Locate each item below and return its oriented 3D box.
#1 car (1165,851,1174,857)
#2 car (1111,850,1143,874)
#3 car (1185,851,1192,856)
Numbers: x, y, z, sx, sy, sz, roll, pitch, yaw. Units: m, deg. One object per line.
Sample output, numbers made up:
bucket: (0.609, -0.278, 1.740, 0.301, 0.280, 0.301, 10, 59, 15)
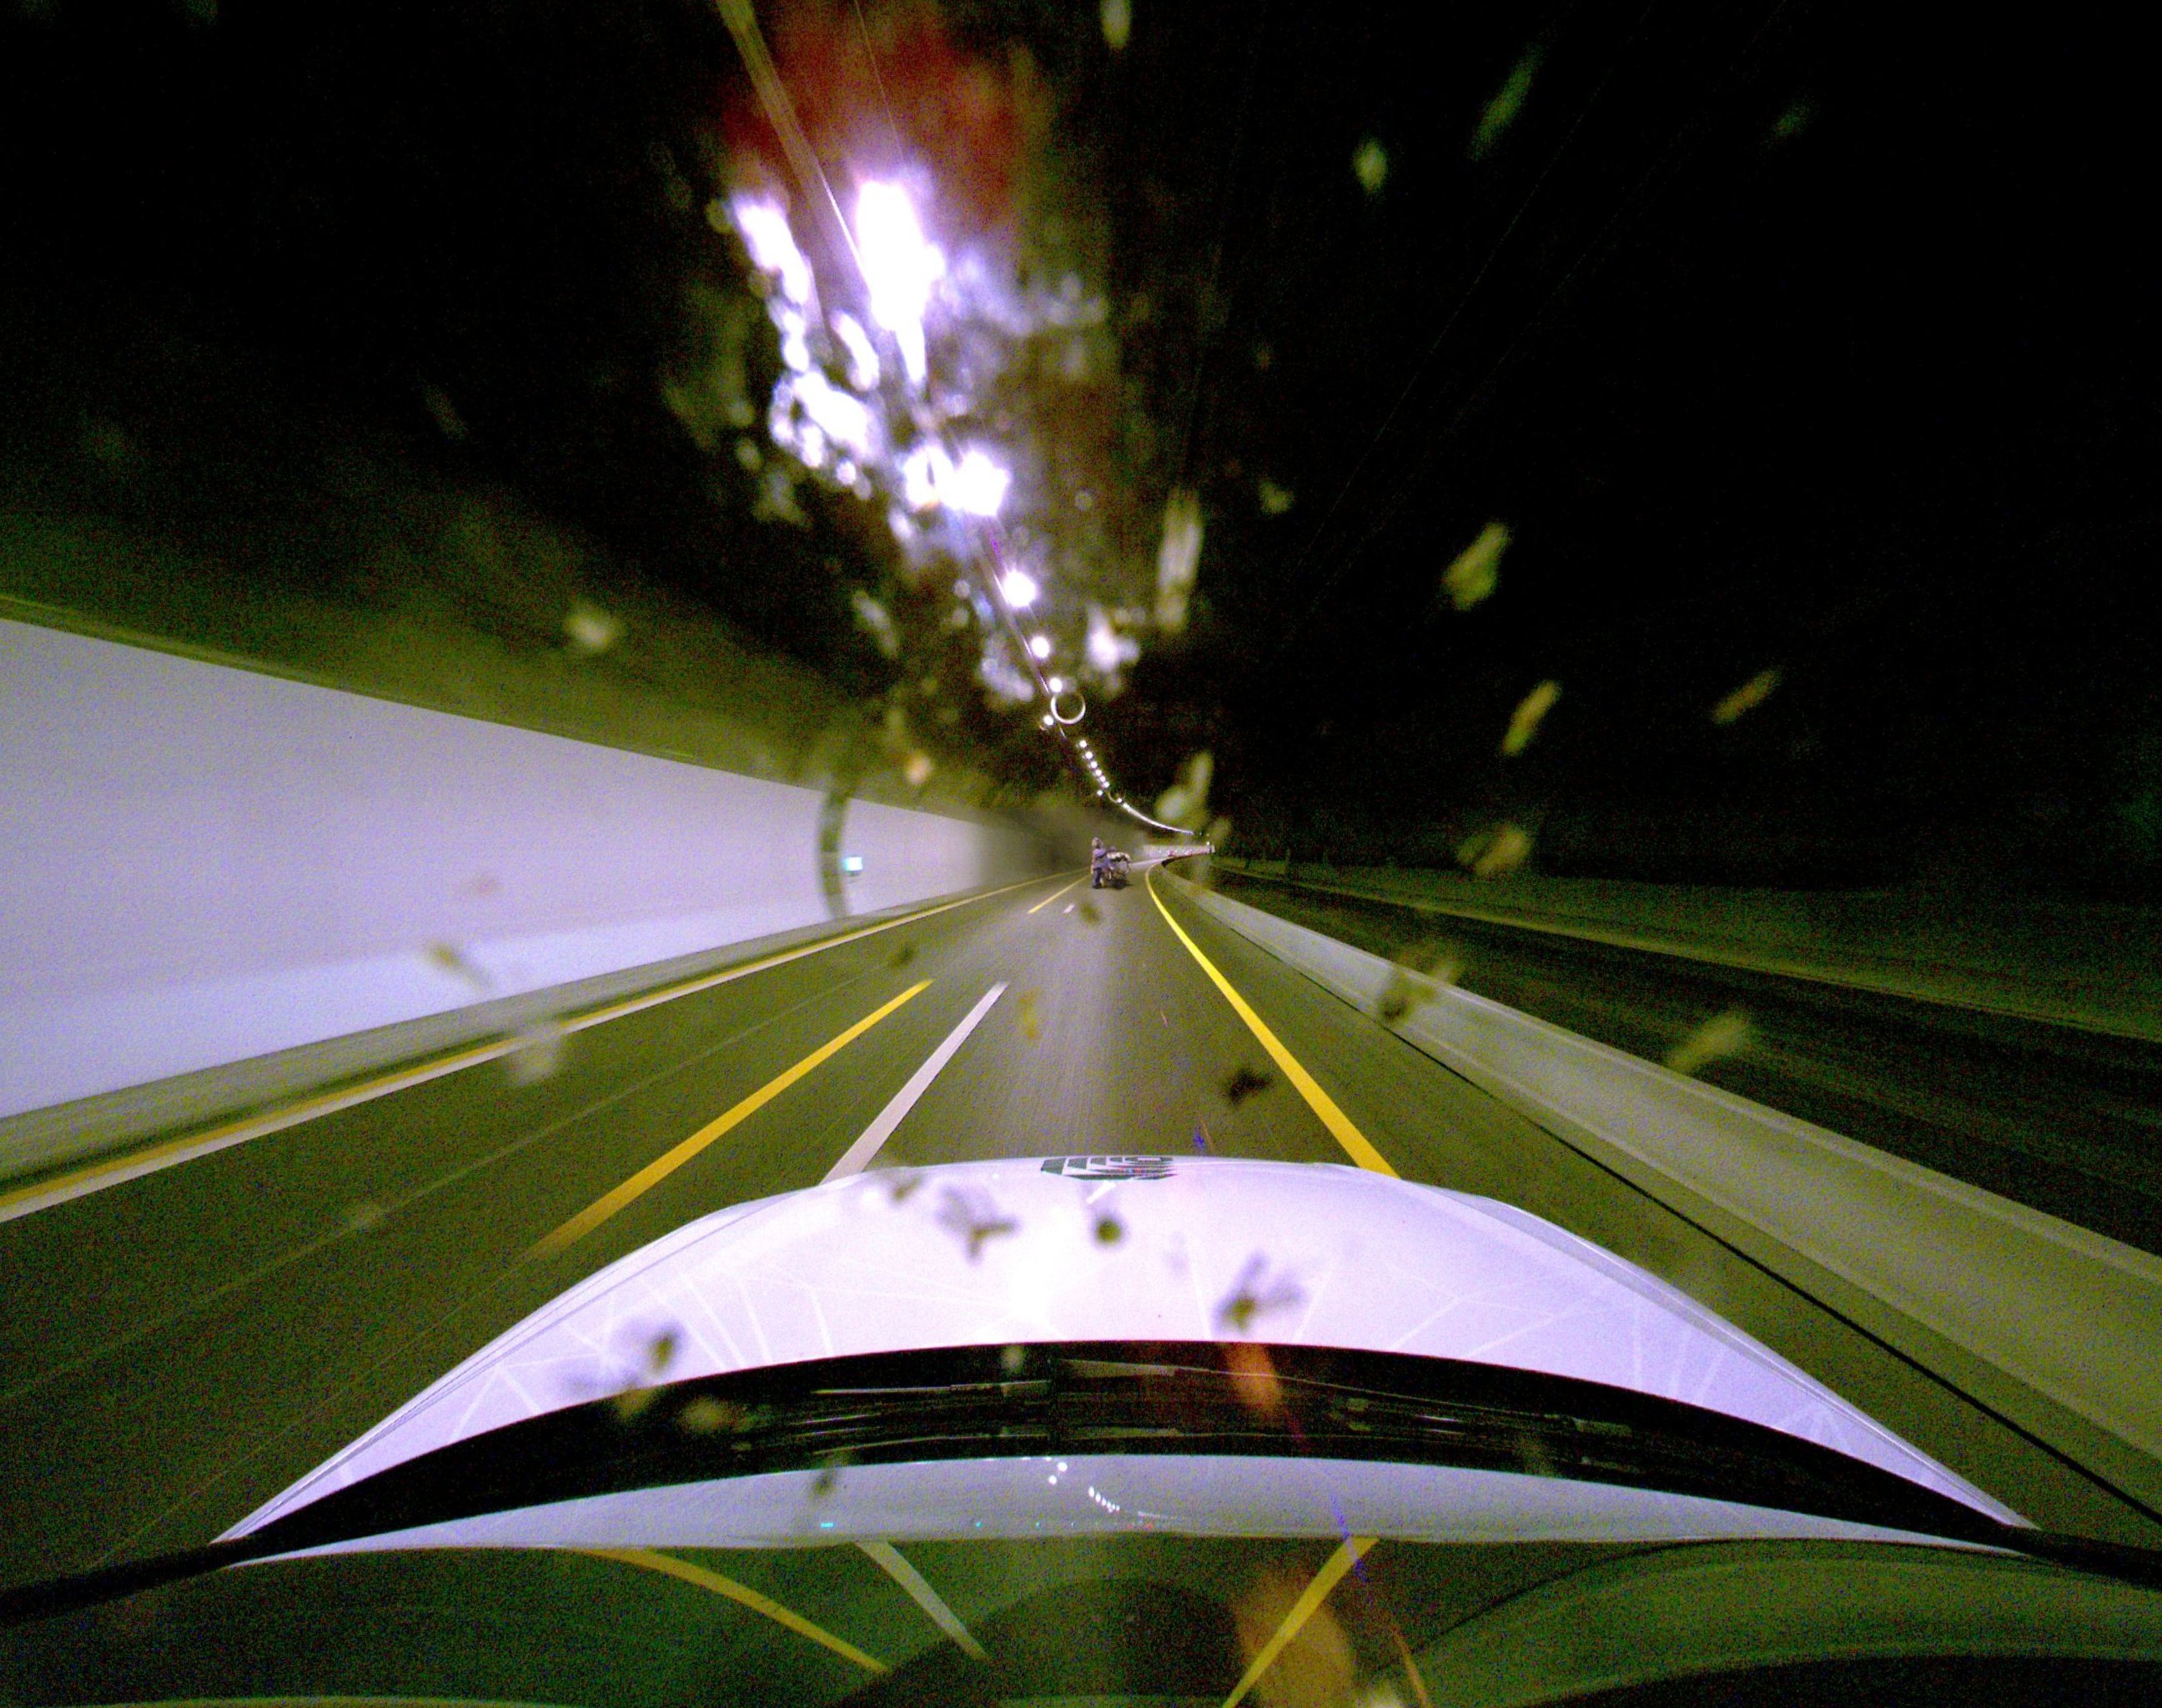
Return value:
car: (24.218, -0.054, 221.665, 2.151, 1.486, 4.012, -1, 0, 10)
car: (3.508, 0.566, 61.269, 2.130, 1.706, 4.007, -1, 0, 6)
car: (30.266, -0.108, 230.085, 1.584, 1.333, 3.763, 0, 0, 12)
